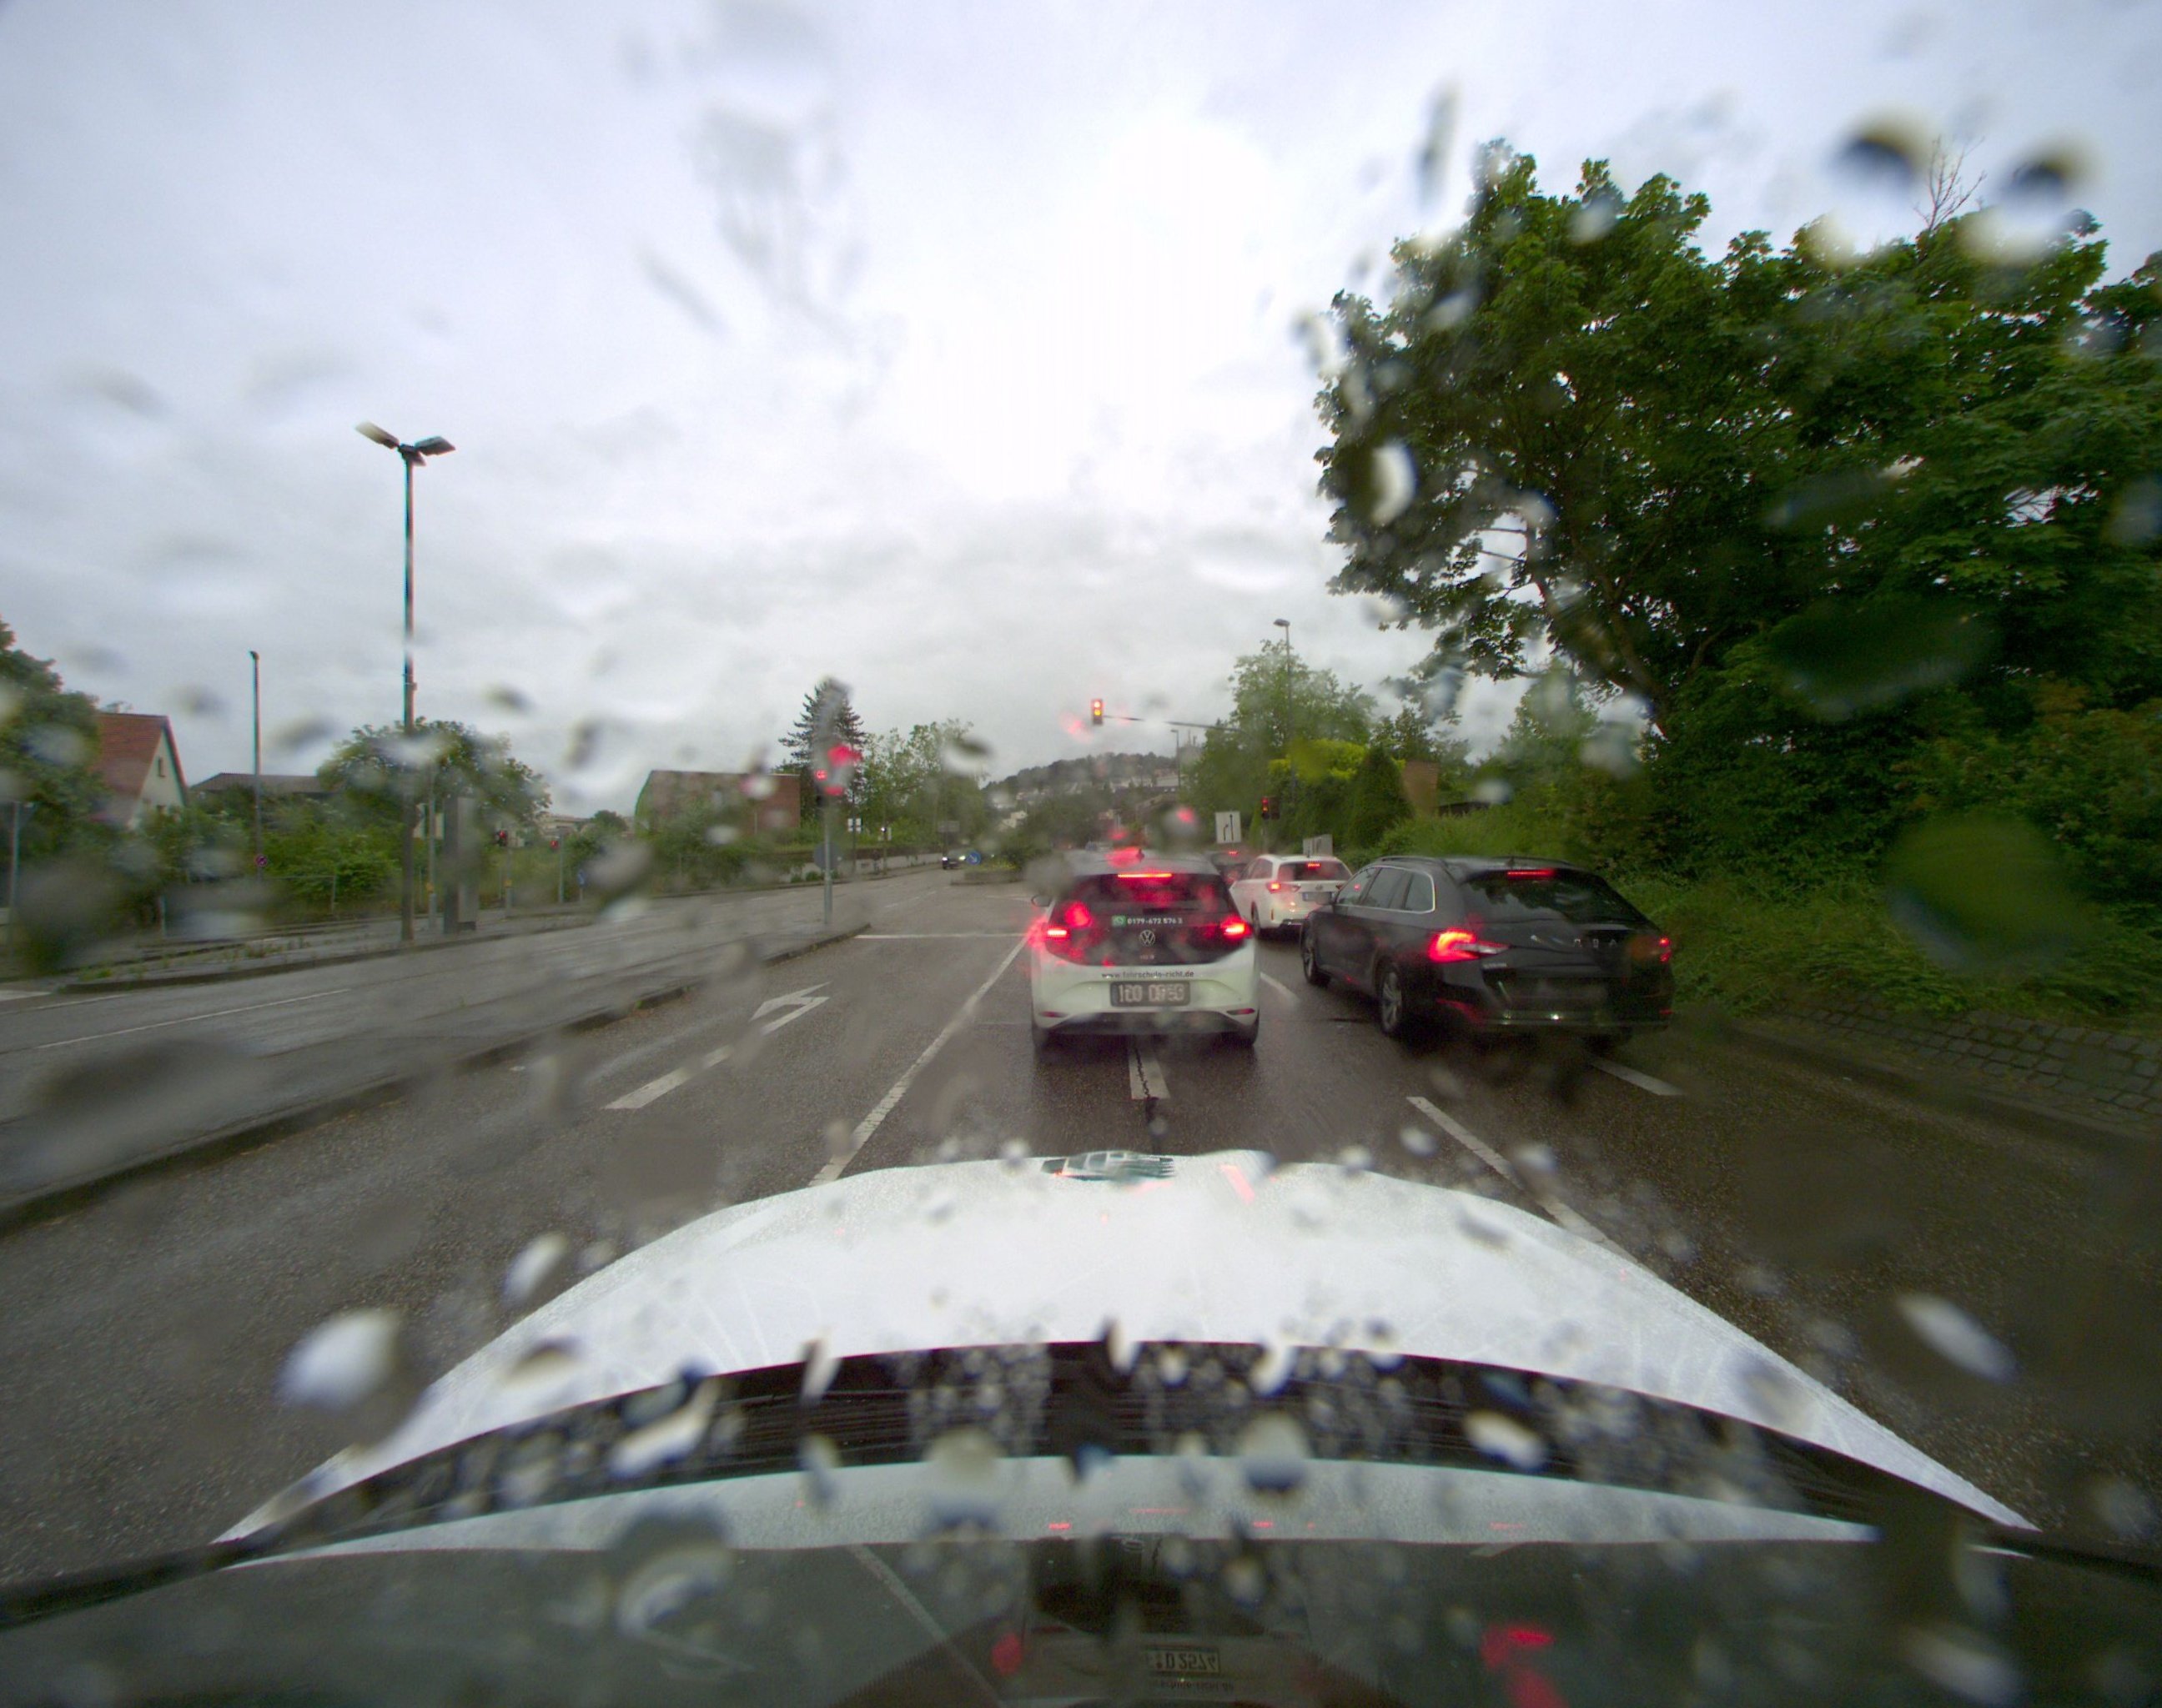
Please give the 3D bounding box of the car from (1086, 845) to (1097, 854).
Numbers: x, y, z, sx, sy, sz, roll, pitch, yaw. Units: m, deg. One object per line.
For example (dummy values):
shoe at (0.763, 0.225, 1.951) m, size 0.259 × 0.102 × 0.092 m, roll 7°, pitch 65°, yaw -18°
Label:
car at (1.686, -0.718, 130.773) m, size 1.755 × 1.418 × 3.748 m, roll -3°, pitch 0°, yaw 0°

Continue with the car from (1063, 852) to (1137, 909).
car at (0.516, 0.652, 22.186) m, size 1.831 × 1.400 × 3.832 m, roll 0°, pitch 0°, yaw 1°

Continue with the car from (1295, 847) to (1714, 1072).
car at (3.340, 0.674, 7.518) m, size 1.830 × 1.466 × 4.353 m, roll 0°, pitch 0°, yaw 3°

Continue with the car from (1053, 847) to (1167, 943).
car at (0.516, 0.649, 15.278) m, size 1.831 × 1.555 × 4.176 m, roll 0°, pitch 0°, yaw 1°

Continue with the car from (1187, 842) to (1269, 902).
car at (4.119, 0.493, 23.400) m, size 1.769 × 1.581 × 4.002 m, roll 0°, pitch 0°, yaw 2°

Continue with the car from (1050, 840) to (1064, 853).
car at (-4.140, -1.254, 140.707) m, size 1.986 × 2.014 × 4.002 m, roll -1°, pitch -1°, yaw 2°

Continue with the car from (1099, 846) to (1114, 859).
car at (2.995, -0.139, 96.175) m, size 1.575 × 1.467 × 4.000 m, roll -3°, pitch -1°, yaw 1°

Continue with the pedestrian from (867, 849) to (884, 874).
pedestrian at (-13.475, 0.473, 53.413) m, size 0.757 × 1.568 × 0.825 m, roll -4°, pitch 0°, yaw 1°

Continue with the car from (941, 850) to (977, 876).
car at (-9.453, 0.661, 63.429) m, size 1.986 × 1.804 × 4.002 m, roll -4°, pitch 0°, yaw 2°

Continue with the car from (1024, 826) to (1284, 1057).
car at (0.565, 0.603, 8.051) m, size 1.831 × 1.629 × 4.617 m, roll 0°, pitch 0°, yaw 1°

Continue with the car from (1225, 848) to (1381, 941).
car at (3.882, 0.629, 14.973) m, size 1.831 × 1.466 × 4.118 m, roll 0°, pitch 0°, yaw 1°
